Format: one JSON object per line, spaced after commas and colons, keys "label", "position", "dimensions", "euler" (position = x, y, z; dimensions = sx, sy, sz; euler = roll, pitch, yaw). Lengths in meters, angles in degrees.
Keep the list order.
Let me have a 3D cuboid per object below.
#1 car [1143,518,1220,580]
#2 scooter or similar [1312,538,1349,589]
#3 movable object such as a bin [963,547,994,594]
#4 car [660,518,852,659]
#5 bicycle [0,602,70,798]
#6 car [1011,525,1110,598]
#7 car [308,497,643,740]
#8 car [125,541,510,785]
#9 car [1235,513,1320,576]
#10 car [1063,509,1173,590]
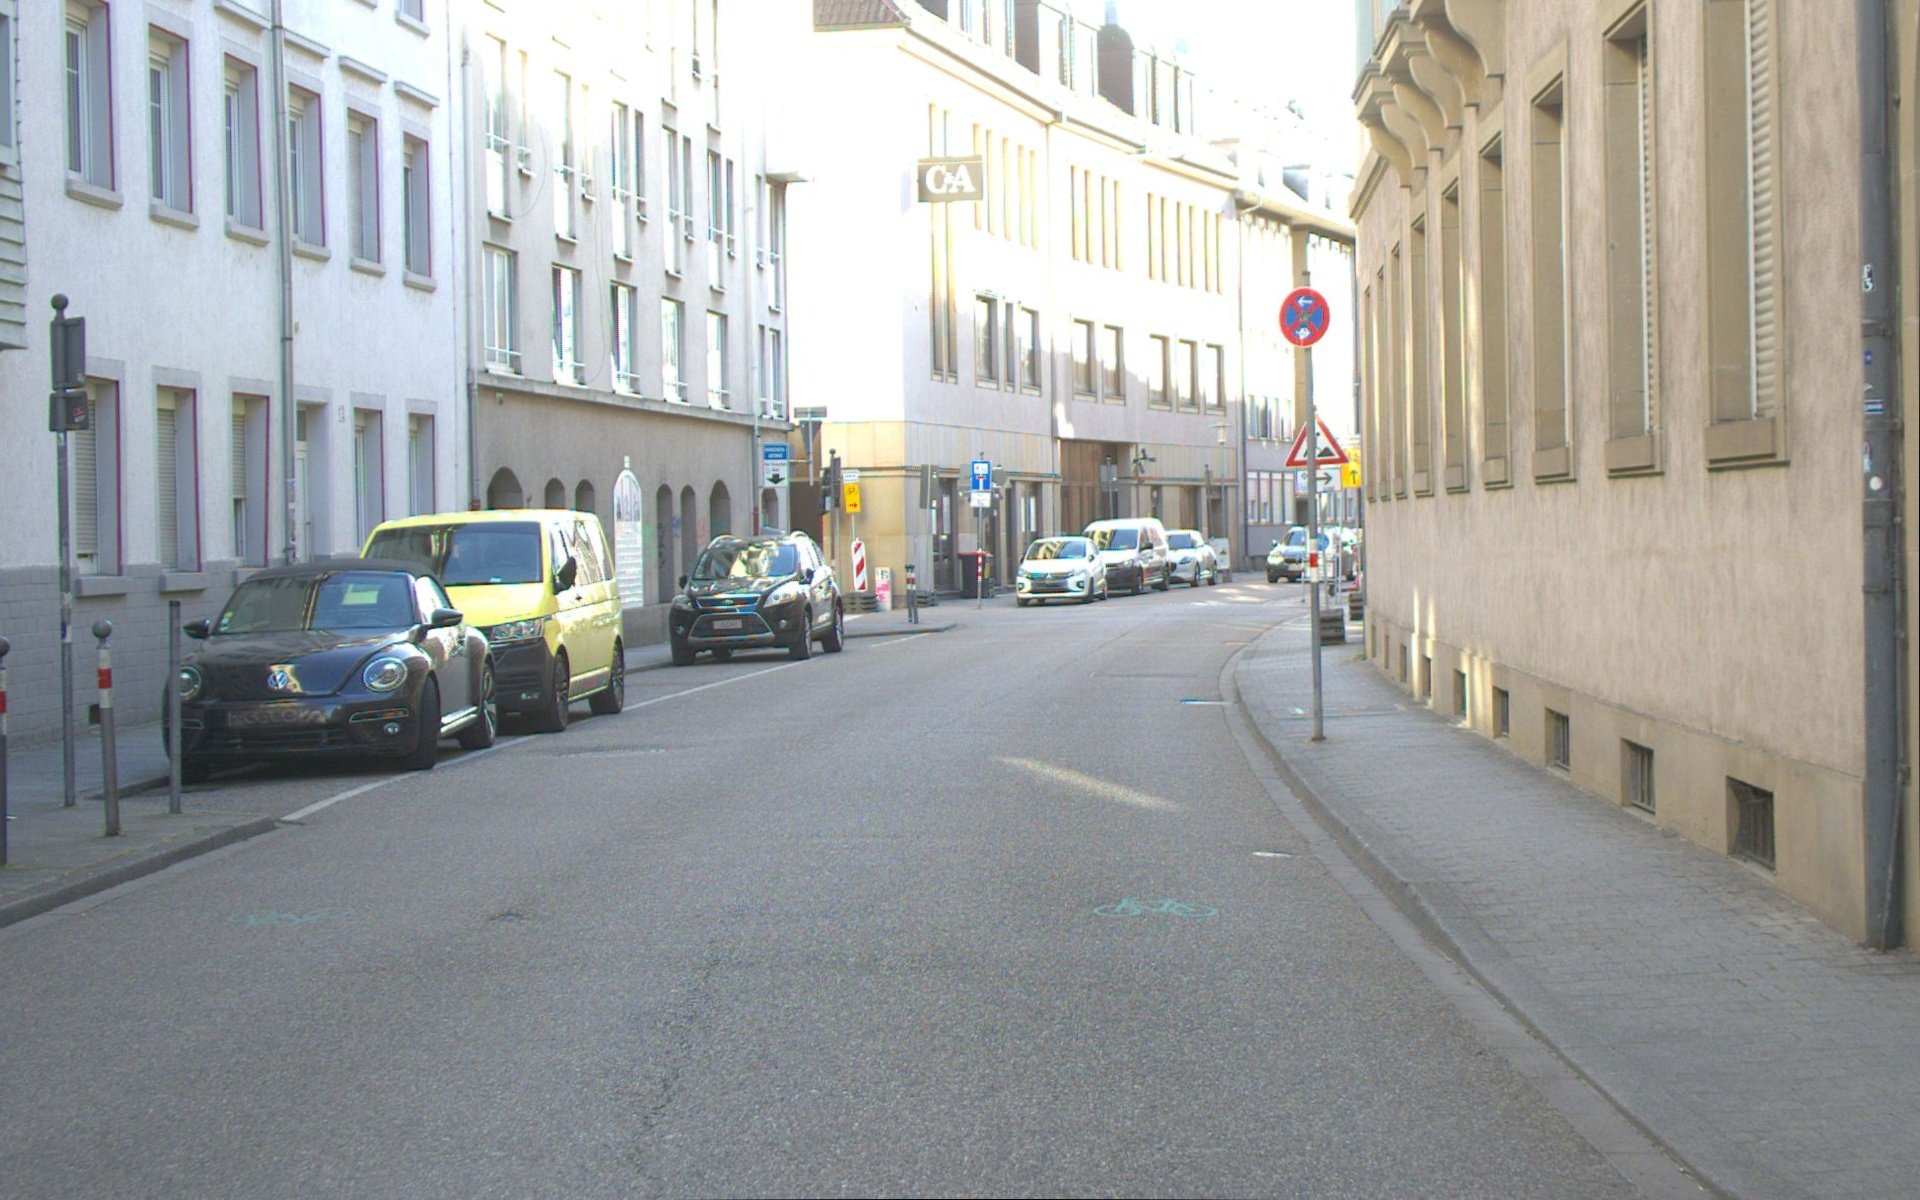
{"label": "car", "position": [5.718, -1.325, 88.584], "dimensions": [1.272, 1.501, 3.399], "euler": [-2, 1, 15]}
{"label": "scooter or similar", "position": [8.278, -0.820, 76.886], "dimensions": [0.771, 1.132, 0.269], "euler": [2, 1, 12]}
{"label": "movable object such as a bin", "position": [0.421, -0.679, 78.416], "dimensions": [0.609, 1.057, 0.713], "euler": [1, 1, 6]}
{"label": "car", "position": [-2.714, -0.195, 46.653], "dimensions": [1.740, 1.705, 4.189], "euler": [-3, 1, 8]}
{"label": "bicycle", "position": [-6.628, 0.613, 21.219], "dimensions": [2.131, 1.159, 0.822], "euler": [-1, 1, 25]}
{"label": "car", "position": [2.275, -0.880, 76.945], "dimensions": [1.671, 1.501, 3.792], "euler": [-2, 1, 9]}
{"label": "car", "position": [-4.161, 0.095, 30.338], "dimensions": [1.880, 1.860, 4.864], "euler": [-4, 1, 4]}
{"label": "car", "position": [-4.506, 0.381, 24.704], "dimensions": [1.819, 1.481, 4.077], "euler": [-4, 1, 2]}
{"label": "car", "position": [8.243, -1.460, 89.566], "dimensions": [1.714, 1.572, 4.191], "euler": [-1, 1, -1]}
{"label": "car", "position": [3.833, -1.232, 82.625], "dimensions": [1.671, 1.812, 4.549], "euler": [-2, 1, 14]}
